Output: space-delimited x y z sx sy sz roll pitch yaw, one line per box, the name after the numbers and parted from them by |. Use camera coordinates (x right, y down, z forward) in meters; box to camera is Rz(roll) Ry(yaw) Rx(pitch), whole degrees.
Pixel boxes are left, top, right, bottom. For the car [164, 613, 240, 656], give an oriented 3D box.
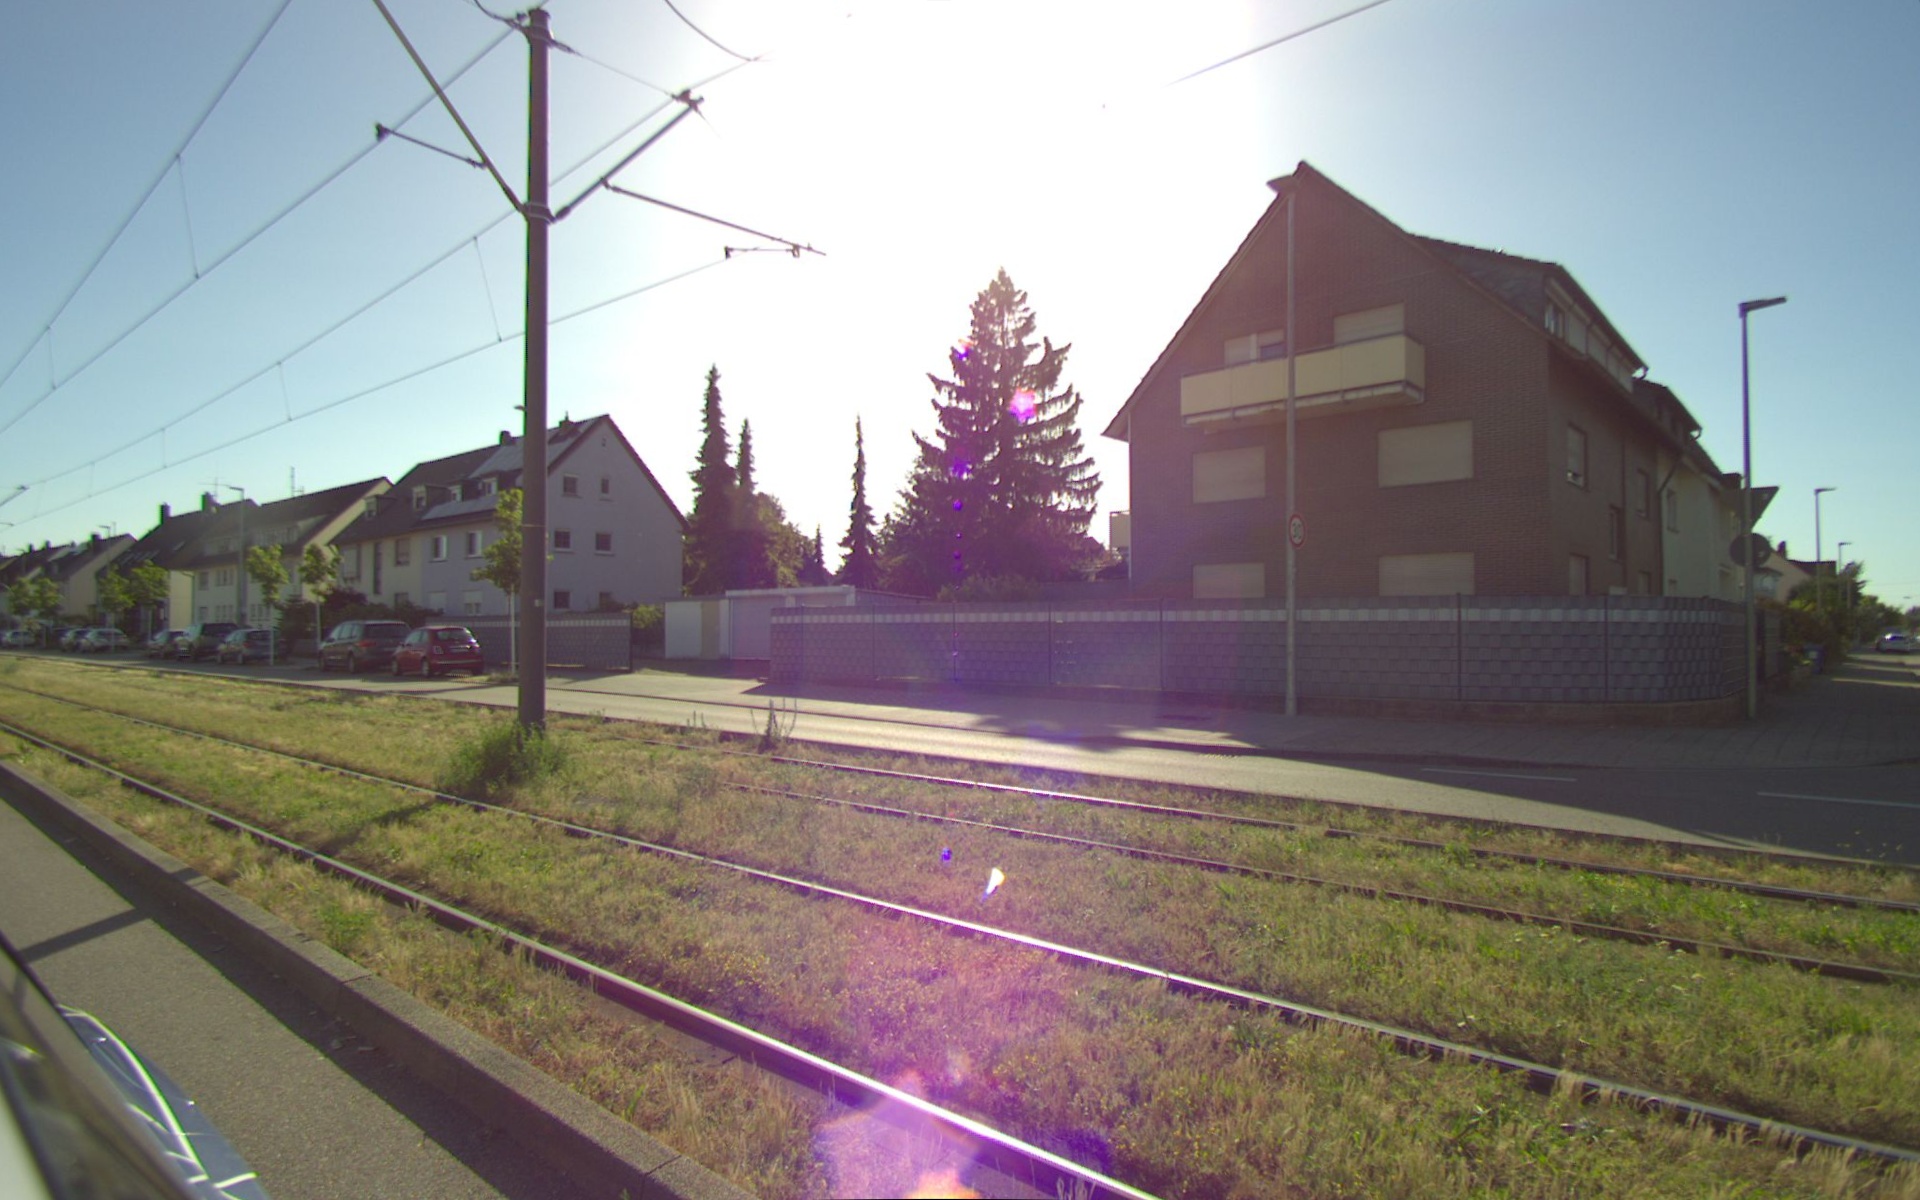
-34.862 1.539 46.507 4.837 1.837 1.728 -1 0 40 | car

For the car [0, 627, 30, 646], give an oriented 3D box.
-74.596 2.868 79.463 4.097 1.447 1.642 -1 -1 38 | car

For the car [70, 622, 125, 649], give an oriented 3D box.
-51.946 2.127 60.940 4.437 1.486 1.672 -1 0 38 | car

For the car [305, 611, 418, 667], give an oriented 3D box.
-20.293 1.273 34.223 4.842 1.697 1.801 -1 0 40 | car

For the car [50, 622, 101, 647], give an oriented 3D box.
-56.634 2.199 64.775 4.309 1.484 1.672 -1 0 38 | car

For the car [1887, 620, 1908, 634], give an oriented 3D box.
98.466 2.858 106.266 3.228 1.343 1.436 -1 0 -44 | car

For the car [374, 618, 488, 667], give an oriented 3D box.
-16.102 1.264 30.732 4.076 1.415 1.678 -1 -2 41 | car

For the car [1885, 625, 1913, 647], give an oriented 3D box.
76.720 2.930 82.669 3.905 1.678 1.462 -1 0 -44 | car

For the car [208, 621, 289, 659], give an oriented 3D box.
-30.070 1.657 42.727 4.044 1.502 1.660 -1 0 38 | car

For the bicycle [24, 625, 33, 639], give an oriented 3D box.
-78.465 2.712 85.234 1.872 1.172 0.472 -1 0 45 | bicycle

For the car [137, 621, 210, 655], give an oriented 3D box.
-39.118 1.834 50.307 4.552 1.552 1.941 -1 0 40 | car

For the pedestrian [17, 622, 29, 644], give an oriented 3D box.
-78.629 2.728 84.914 0.676 1.829 0.611 -1 0 30 | pedestrian

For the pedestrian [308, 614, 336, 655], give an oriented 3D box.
-26.379 1.417 41.847 0.918 1.652 0.689 -1 0 38 | pedestrian
